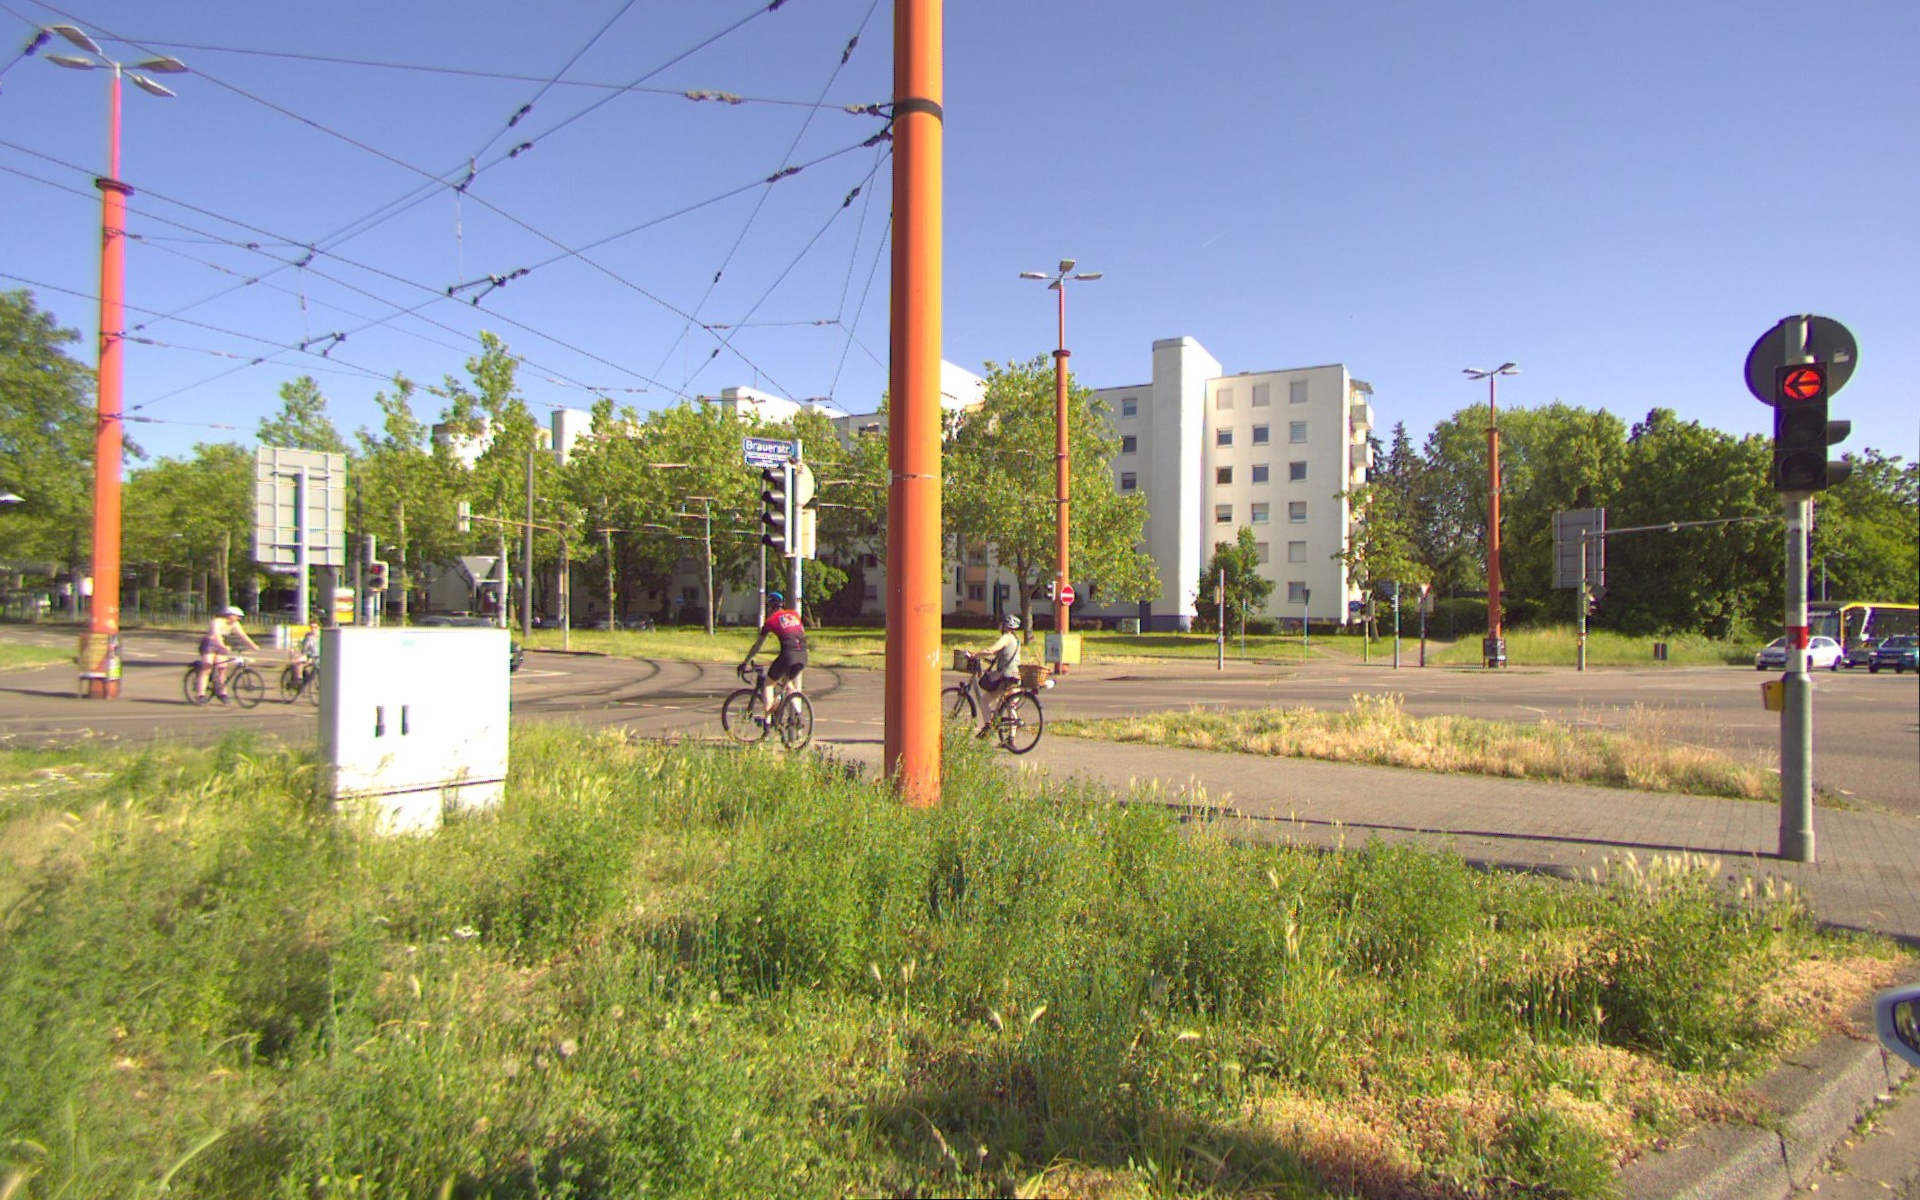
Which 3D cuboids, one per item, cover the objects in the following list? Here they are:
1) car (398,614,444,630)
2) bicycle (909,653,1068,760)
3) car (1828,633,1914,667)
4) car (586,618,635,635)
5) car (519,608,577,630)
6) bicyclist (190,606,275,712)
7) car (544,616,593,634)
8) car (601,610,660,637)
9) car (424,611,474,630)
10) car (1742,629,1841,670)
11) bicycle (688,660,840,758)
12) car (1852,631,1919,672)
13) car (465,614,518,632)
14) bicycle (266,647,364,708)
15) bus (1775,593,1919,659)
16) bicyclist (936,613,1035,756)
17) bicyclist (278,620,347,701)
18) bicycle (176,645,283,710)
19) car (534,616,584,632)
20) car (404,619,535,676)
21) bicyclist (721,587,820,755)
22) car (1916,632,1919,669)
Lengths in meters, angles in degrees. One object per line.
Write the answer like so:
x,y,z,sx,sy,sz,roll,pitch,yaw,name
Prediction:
-46.627,1.904,86.964,3.370,1.204,1.439,2,0,-23,car
0.319,1.244,12.197,1.887,1.146,0.737,0,-1,41,bicycle
43.138,2.364,47.545,3.952,1.533,1.877,1,-2,-29,car
-25.831,1.977,74.323,3.279,1.149,1.321,2,0,-11,car
-32.549,1.487,79.442,3.868,1.614,1.656,2,0,-8,car
-13.595,1.074,18.787,0.905,1.892,0.893,2,0,17,bicyclist
-29.329,1.871,75.350,3.219,1.172,1.357,2,0,-12,car
-23.667,1.684,72.307,3.874,1.841,1.651,2,0,-13,car
-43.260,1.742,85.109,3.592,1.480,1.608,2,0,-19,car
35.368,2.101,42.699,4.168,1.673,1.869,2,-3,-29,car
-2.406,1.288,12.234,1.883,1.085,0.690,-2,-2,33,bicycle
37.299,2.030,39.778,3.813,1.535,1.793,1,-3,-30,car
-38.841,1.898,83.398,3.665,1.349,1.496,2,0,-8,car
-12.854,1.526,20.008,1.878,1.086,0.580,2,0,19,bicycle
48.887,1.470,54.382,12.375,3.304,2.636,2,0,-27,bus
0.319,0.995,12.239,0.815,1.643,0.888,0,-1,41,bicyclist
-12.892,1.193,20.015,0.906,1.545,0.720,2,0,20,bicyclist
-13.638,1.430,18.745,1.877,1.086,0.580,2,0,17,bicycle
-30.897,1.838,77.447,3.346,1.162,1.305,2,0,-13,car
-15.219,1.430,31.109,3.977,1.516,1.913,2,0,34,car
-2.295,0.843,12.165,0.974,1.938,0.685,-1,-2,33,bicyclist
42.609,2.159,42.729,3.955,1.575,1.891,2,-2,-32,car
